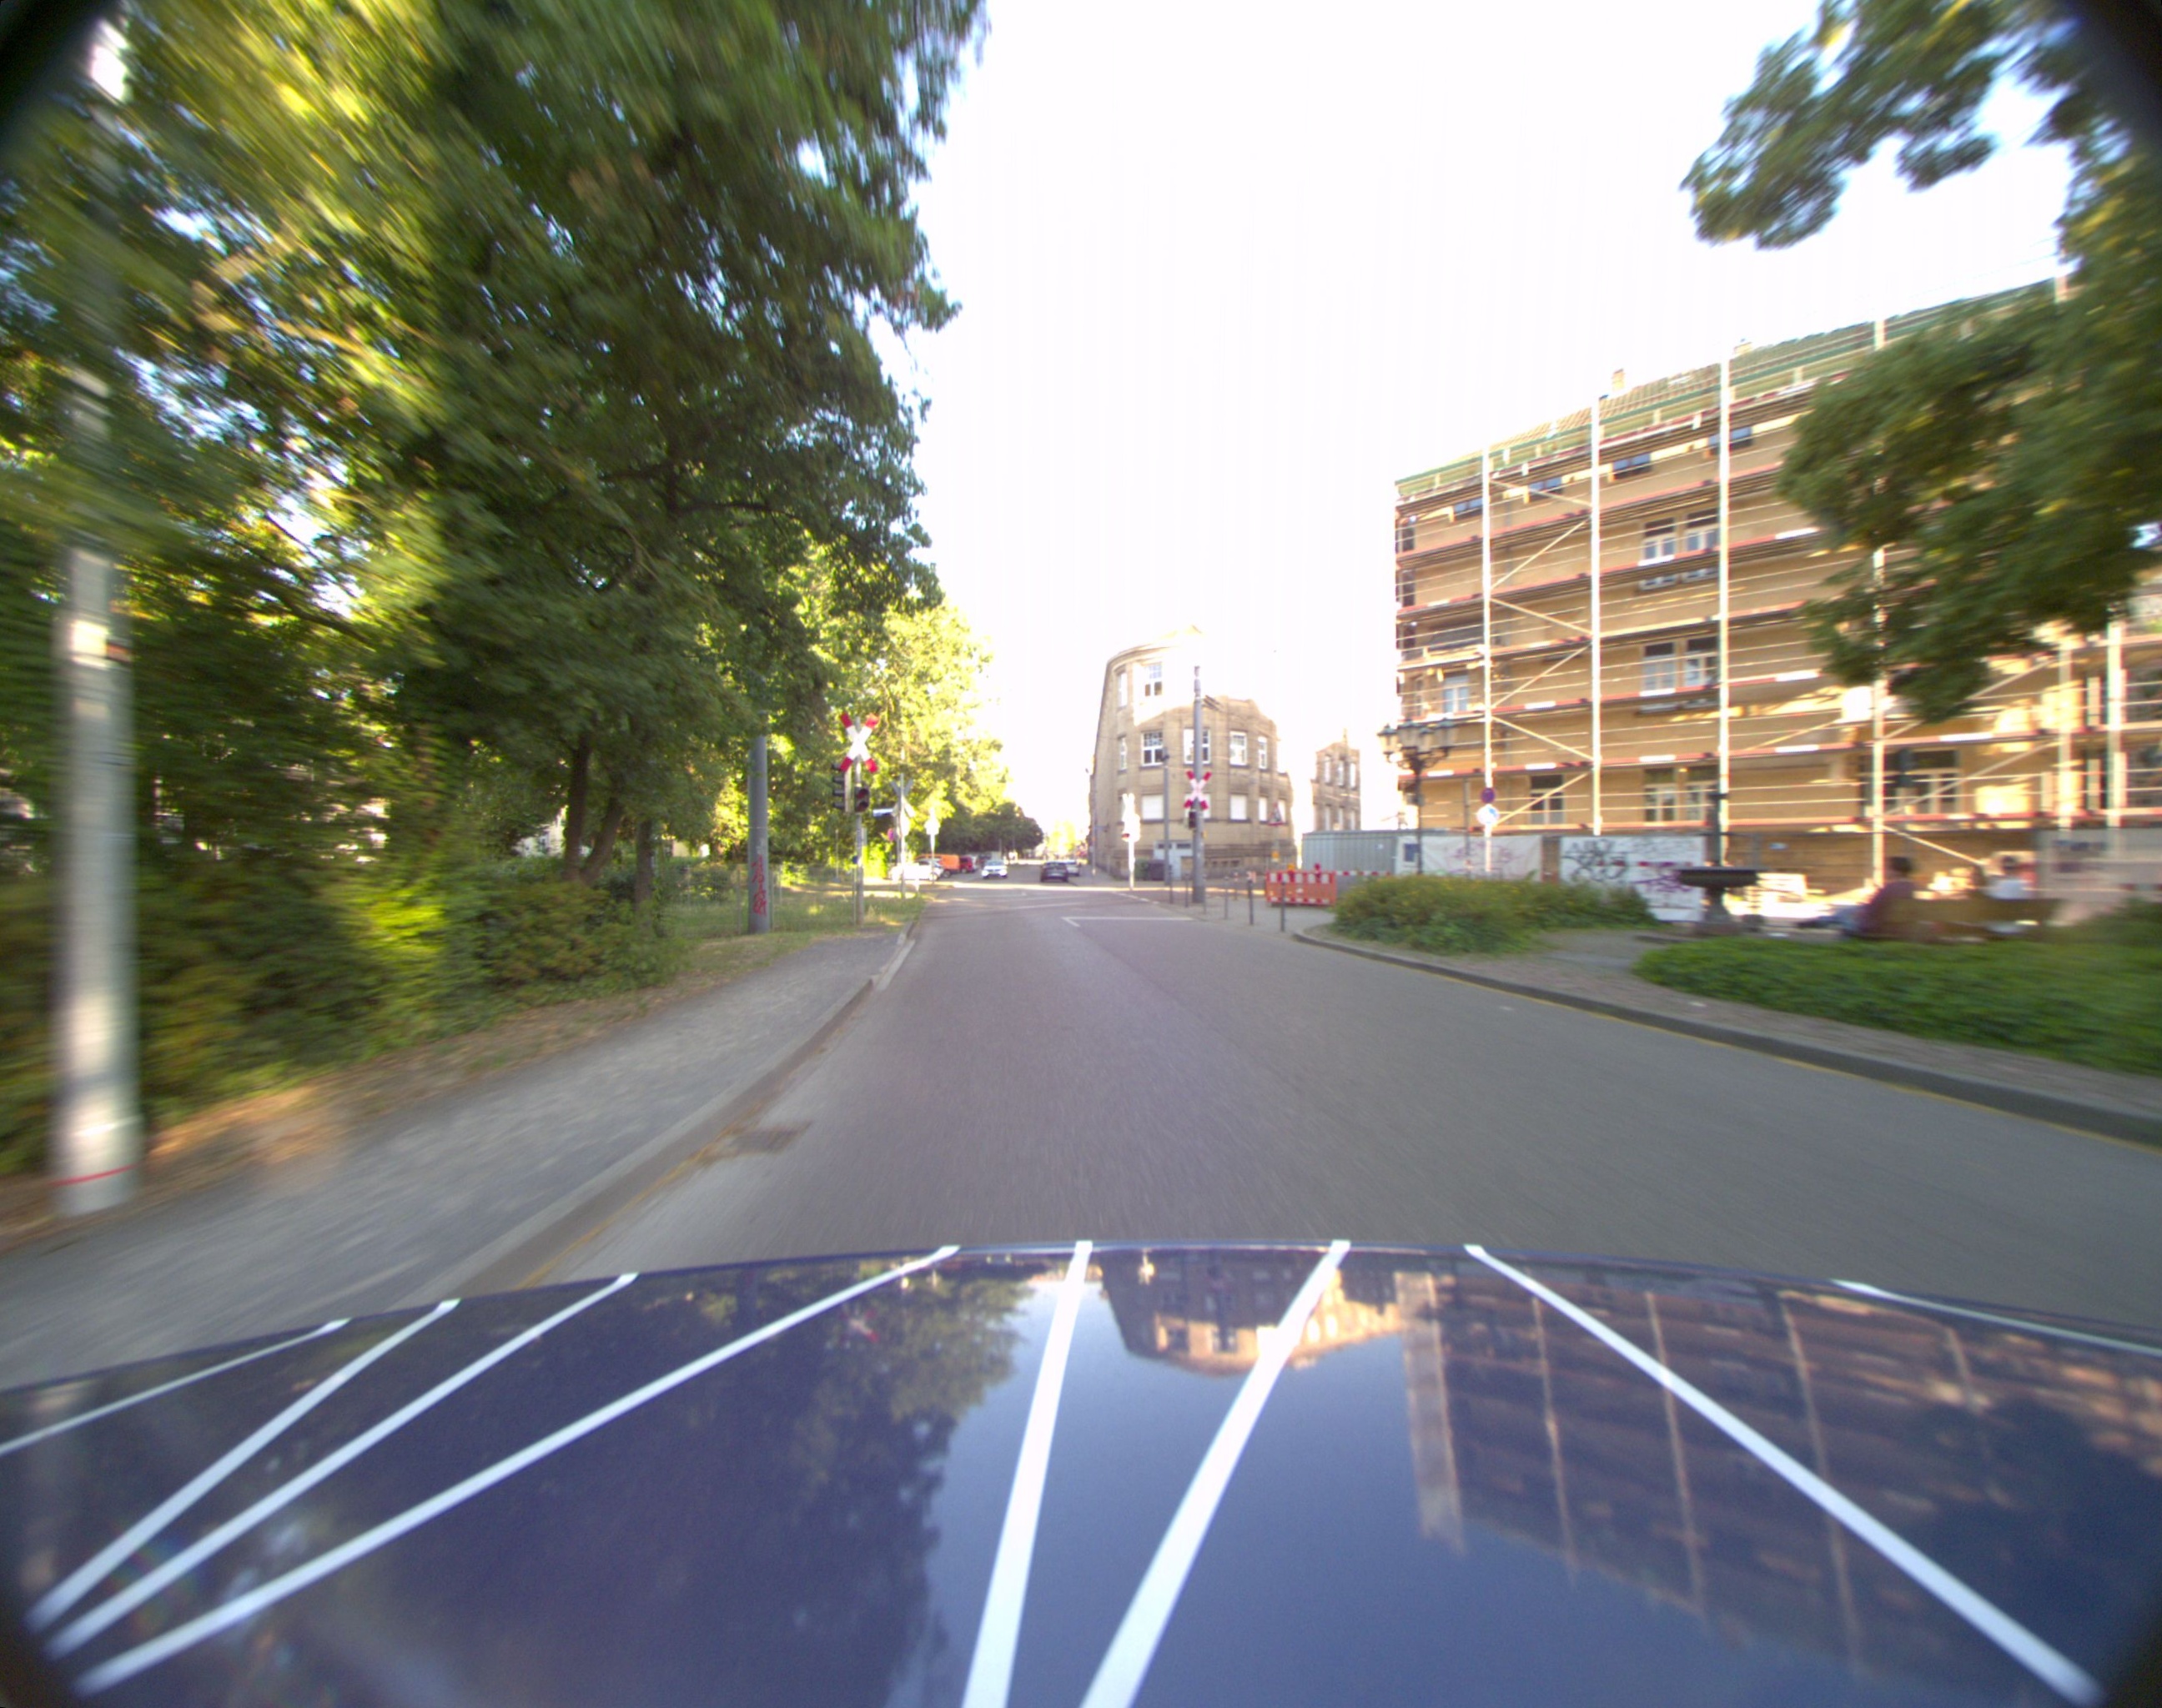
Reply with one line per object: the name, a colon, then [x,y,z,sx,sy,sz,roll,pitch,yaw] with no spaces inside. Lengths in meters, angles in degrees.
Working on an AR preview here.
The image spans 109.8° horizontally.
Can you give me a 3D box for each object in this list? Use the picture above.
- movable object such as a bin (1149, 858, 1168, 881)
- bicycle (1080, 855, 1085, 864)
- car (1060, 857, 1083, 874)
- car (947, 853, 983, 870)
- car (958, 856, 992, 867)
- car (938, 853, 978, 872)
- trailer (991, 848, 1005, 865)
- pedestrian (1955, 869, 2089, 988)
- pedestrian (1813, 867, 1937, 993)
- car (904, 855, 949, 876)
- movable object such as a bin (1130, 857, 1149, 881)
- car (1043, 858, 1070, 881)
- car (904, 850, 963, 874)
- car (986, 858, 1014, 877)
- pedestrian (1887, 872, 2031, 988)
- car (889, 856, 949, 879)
movable object such as a bin: [4.938,0.985,48.226,1.185,1.420,1.923,0,0,6]
bicycle: [0.183,0.806,111.731,0.457,1.202,1.879,0,0,9]
car: [-0.889,0.975,67.912,1.748,1.426,4.559,-2,0,-4]
car: [-12.847,0.816,84.375,3.610,1.873,1.783,1,0,1]
car: [-14.609,1.008,105.212,4.442,1.458,1.711,0,0,1]
car: [-13.205,0.905,81.765,3.981,1.852,1.920,1,0,2]
trailer: [-12.773,0.329,116.890,1.601,2.625,3.702,0,0,1]
pedestrian: [10.176,0.780,8.241,0.552,1.225,0.725,0,0,0]
pedestrian: [8.625,0.795,8.281,0.552,1.290,0.766,0,0,0]
car: [-12.649,0.900,62.301,3.406,1.622,1.679,1,0,-2]
movable object such as a bin: [3.800,0.958,49.332,1.148,1.477,1.628,0,0,6]
car: [-1.669,1.007,50.519,1.748,1.439,4.207,0,0,-3]
car: [-12.554,0.679,64.958,4.810,1.986,2.079,1,0,-6]
car: [-6.503,1.038,61.558,1.687,1.444,4.103,0,0,2]
pedestrian: [9.582,0.801,8.328,0.552,1.188,0.884,0,0,0]
car: [-11.520,0.933,54.271,3.999,1.537,1.734,1,0,-6]
